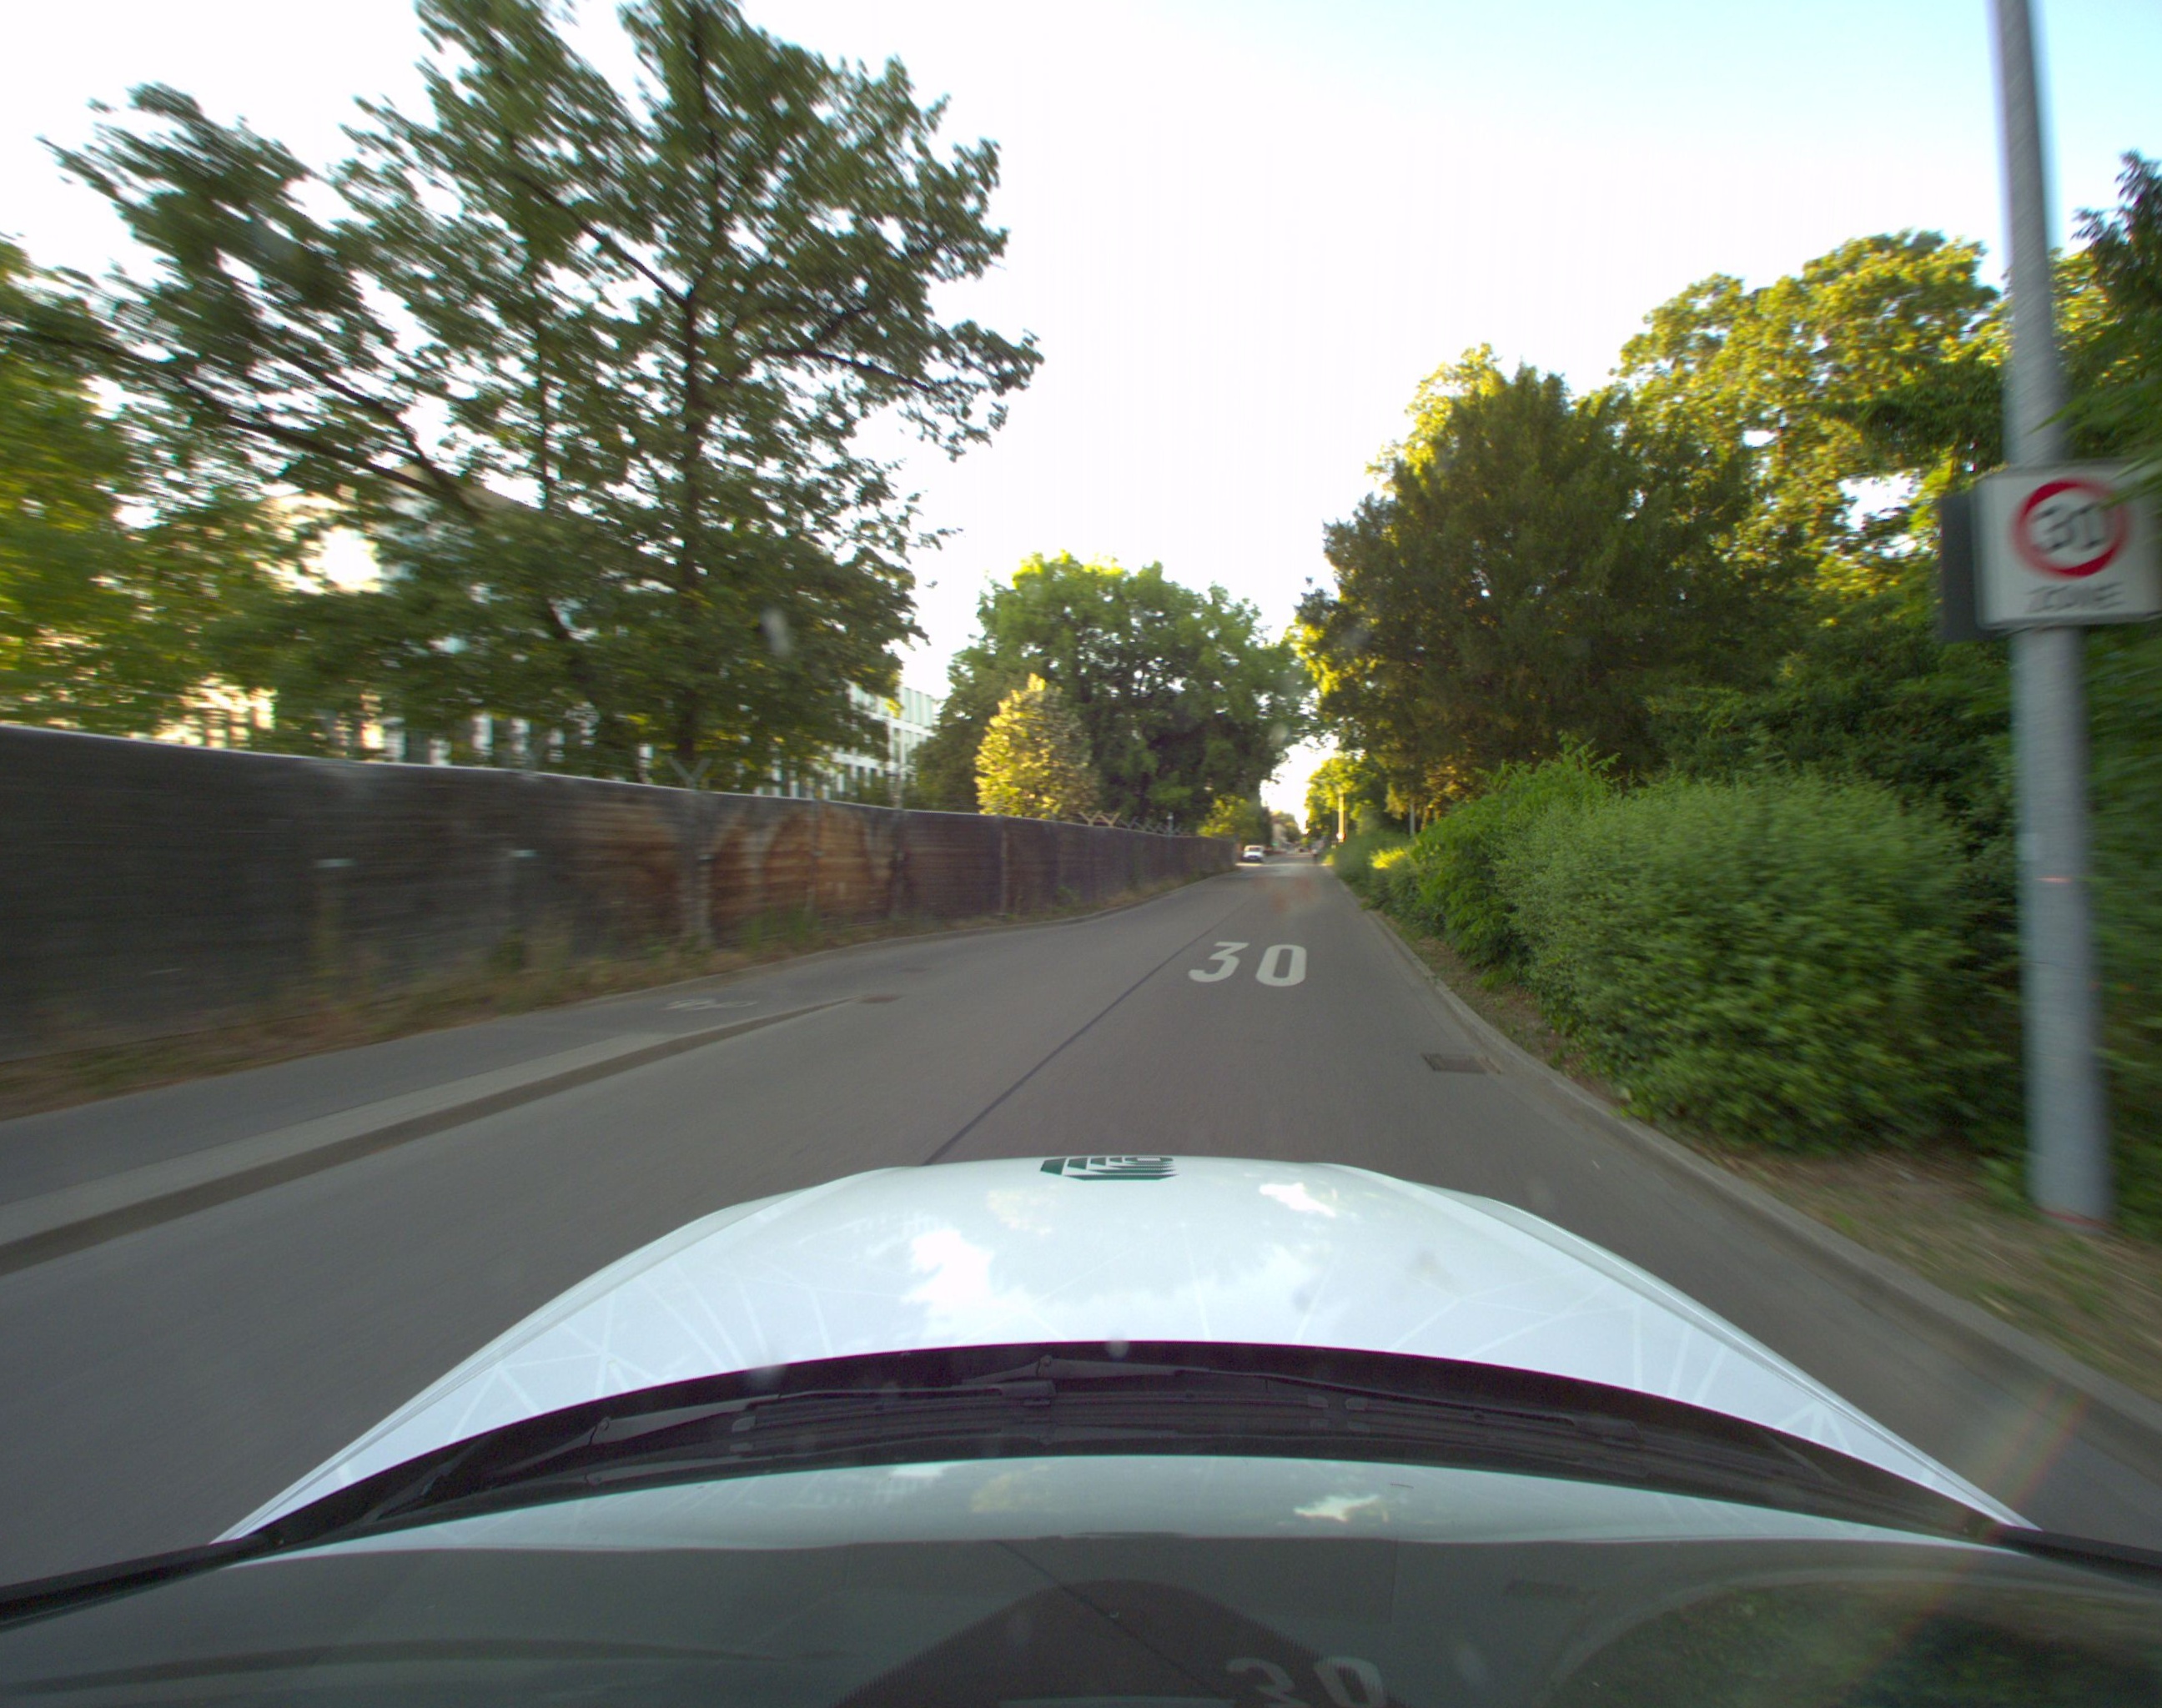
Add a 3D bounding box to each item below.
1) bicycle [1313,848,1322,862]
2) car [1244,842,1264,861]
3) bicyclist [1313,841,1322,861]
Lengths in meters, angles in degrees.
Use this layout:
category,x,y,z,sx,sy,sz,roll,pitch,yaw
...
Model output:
category,x,y,z,sx,sy,sz,roll,pitch,yaw
bicycle,20.387,0.091,70.211,0.633,1.193,1.883,1,0,14
car,19.192,-0.227,90.271,1.869,2.014,5.246,1,-1,14
bicyclist,20.400,-0.245,70.276,0.634,1.667,0.846,1,0,14
